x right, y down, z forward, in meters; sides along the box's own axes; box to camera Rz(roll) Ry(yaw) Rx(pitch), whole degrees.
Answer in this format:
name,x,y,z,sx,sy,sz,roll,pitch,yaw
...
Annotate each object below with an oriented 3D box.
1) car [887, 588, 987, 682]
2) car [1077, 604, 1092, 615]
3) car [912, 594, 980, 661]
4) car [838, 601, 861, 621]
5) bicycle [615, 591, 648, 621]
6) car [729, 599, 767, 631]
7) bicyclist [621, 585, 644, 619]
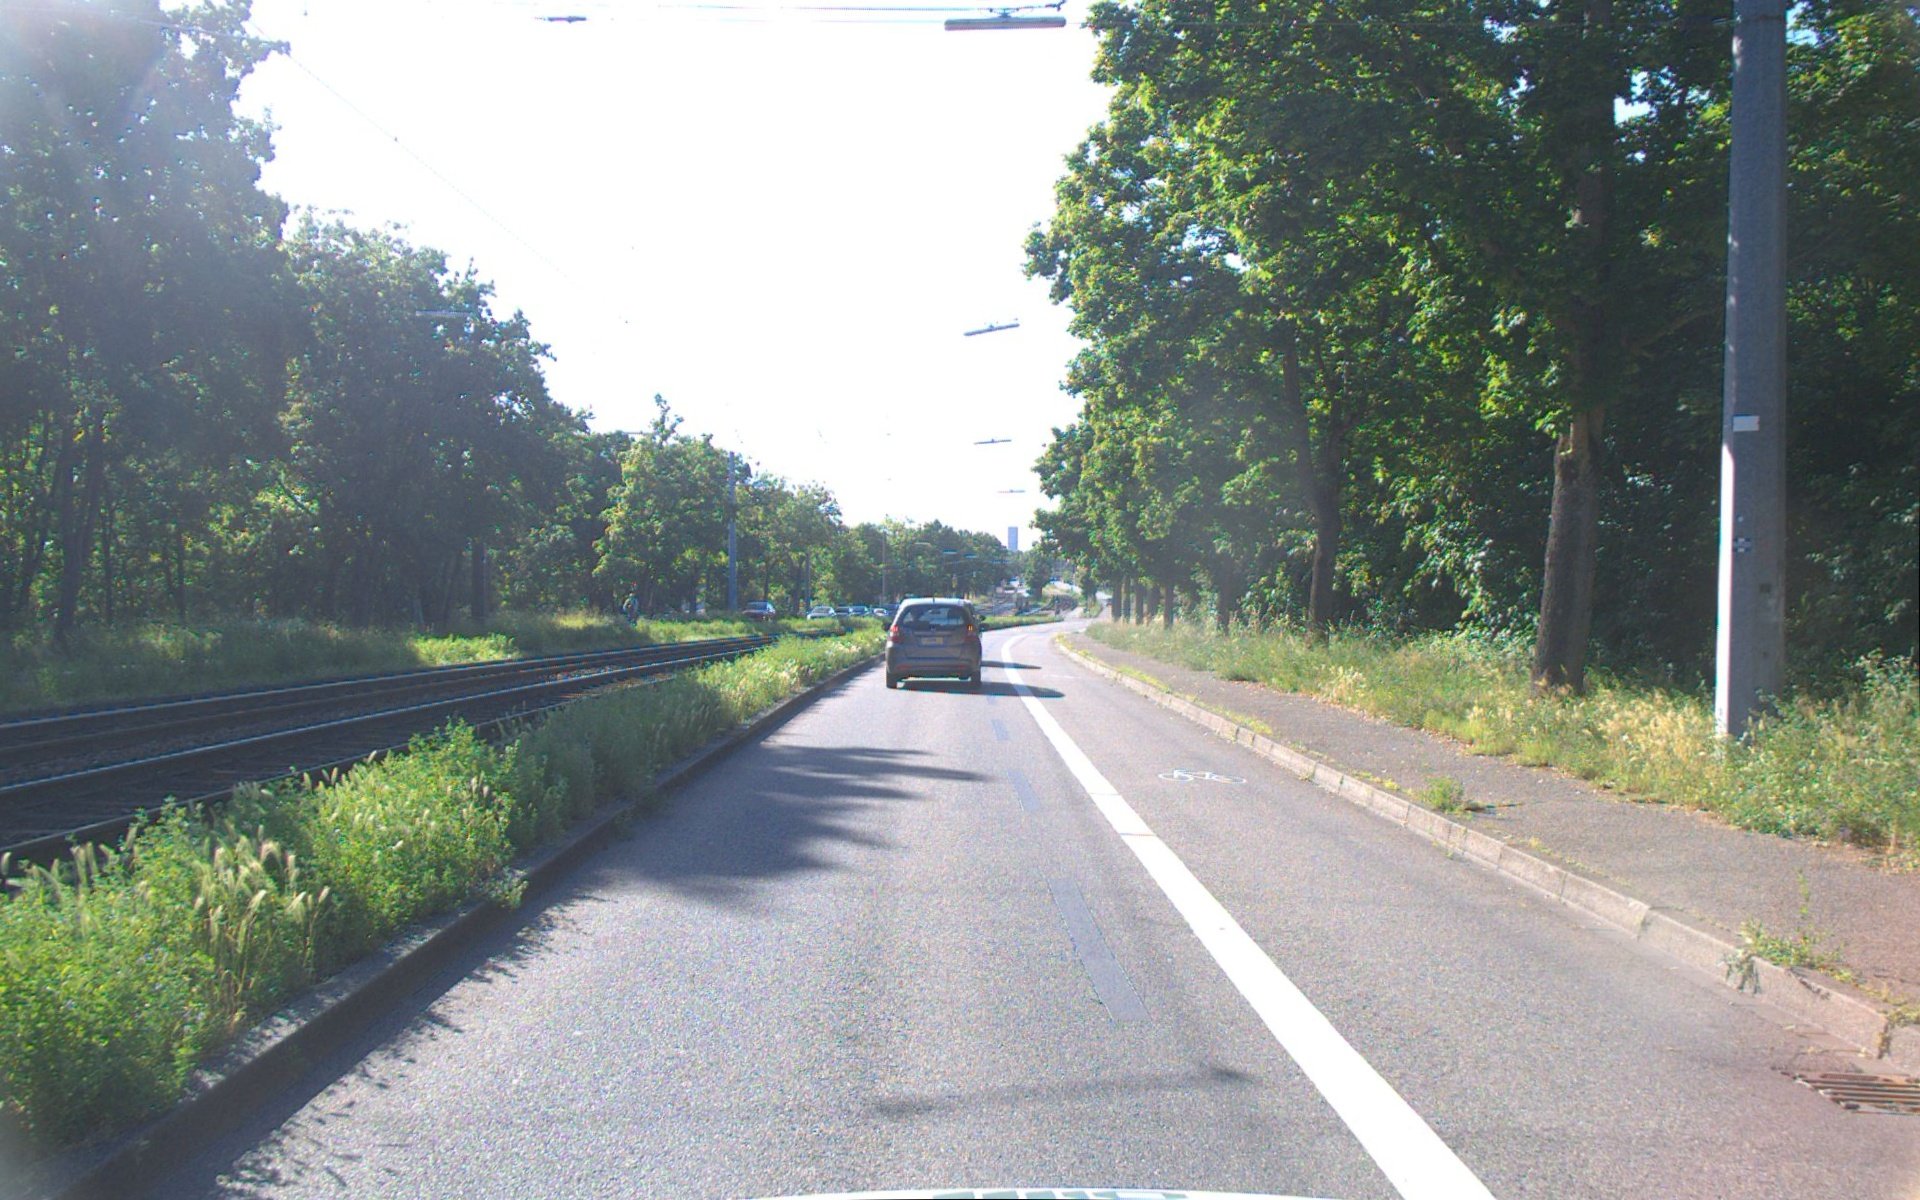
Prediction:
name,x,y,z,sx,sy,sz,roll,pitch,yaw
car,-0.410,0.616,29.551,1.636,1.534,3.810,2,-1,-1
car,17.712,1.366,234.947,1.619,1.336,3.815,2,3,11
car,-0.367,0.661,42.446,1.621,1.534,3.811,2,1,-1
car,-9.898,0.967,148.200,1.590,1.578,4.002,2,3,1
bicycle,-14.966,0.253,75.484,0.772,1.216,3.170,2,3,2
car,-14.671,1.031,114.596,1.952,1.908,4.002,2,3,1
bicyclist,-14.963,0.080,75.608,0.773,1.515,1.109,2,2,1
